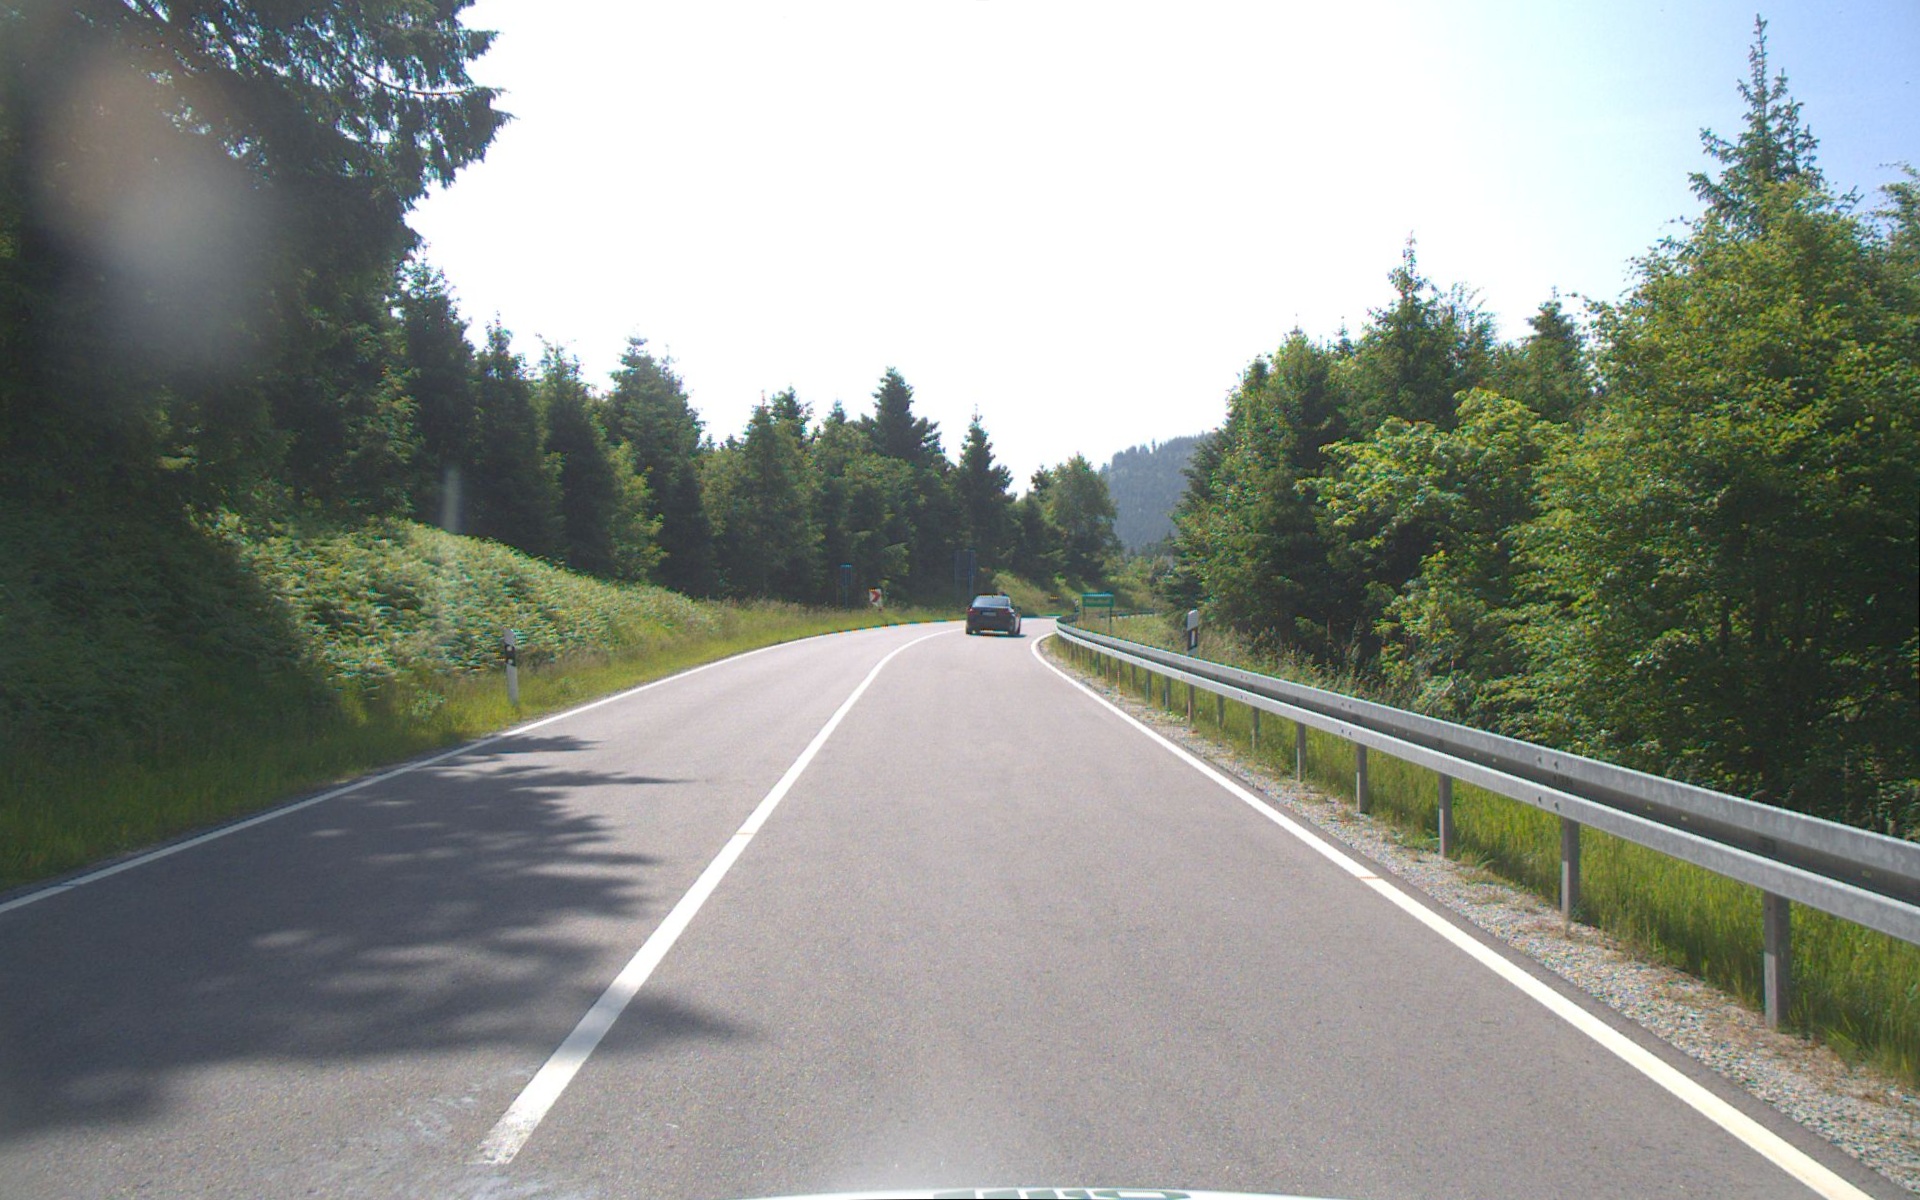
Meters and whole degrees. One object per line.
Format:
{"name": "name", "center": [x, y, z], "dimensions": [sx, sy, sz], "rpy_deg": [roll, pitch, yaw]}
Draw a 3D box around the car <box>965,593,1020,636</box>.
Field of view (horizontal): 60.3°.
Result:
{"name": "car", "center": [1.209, 0.508, 60.390], "dimensions": [1.738, 1.467, 3.711], "rpy_deg": [1, 0, 5]}
